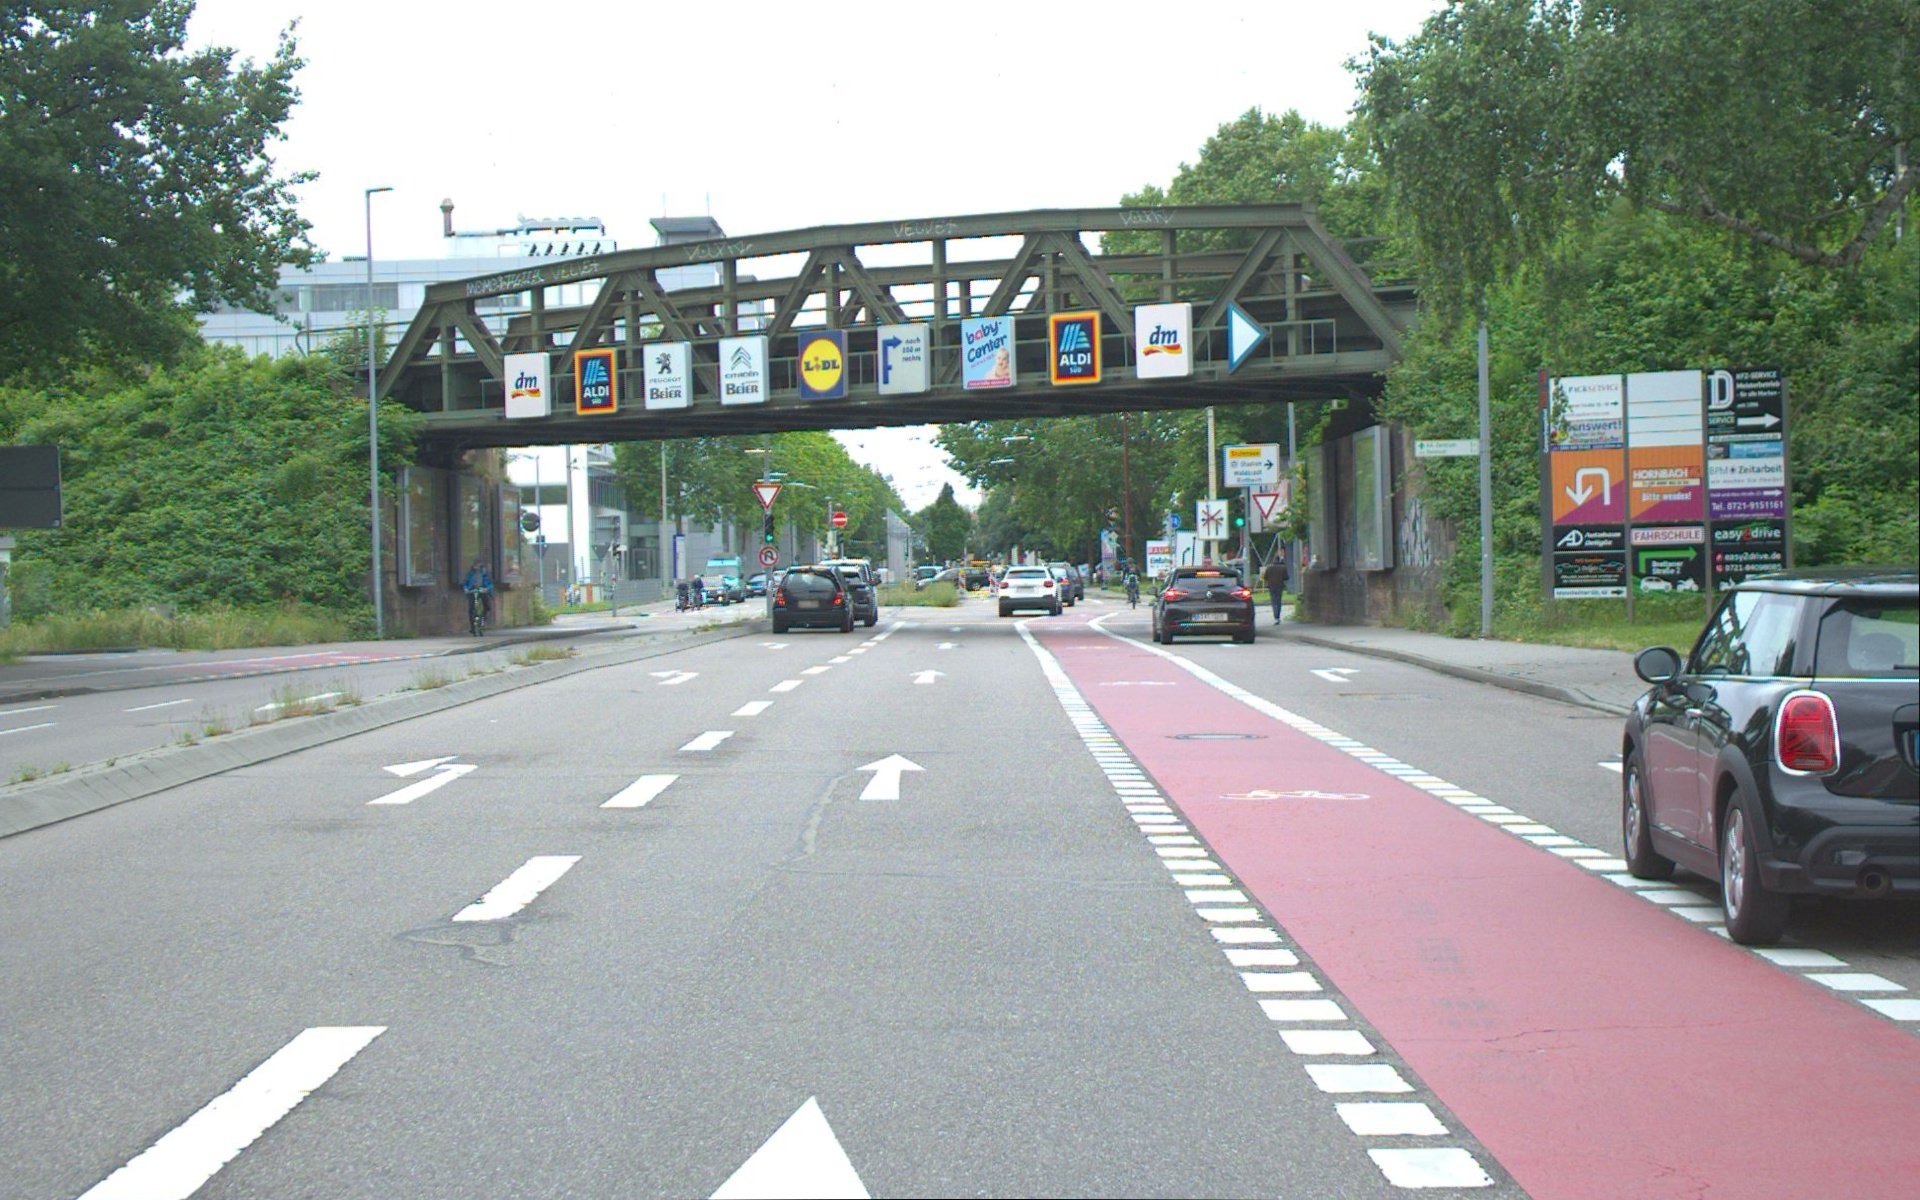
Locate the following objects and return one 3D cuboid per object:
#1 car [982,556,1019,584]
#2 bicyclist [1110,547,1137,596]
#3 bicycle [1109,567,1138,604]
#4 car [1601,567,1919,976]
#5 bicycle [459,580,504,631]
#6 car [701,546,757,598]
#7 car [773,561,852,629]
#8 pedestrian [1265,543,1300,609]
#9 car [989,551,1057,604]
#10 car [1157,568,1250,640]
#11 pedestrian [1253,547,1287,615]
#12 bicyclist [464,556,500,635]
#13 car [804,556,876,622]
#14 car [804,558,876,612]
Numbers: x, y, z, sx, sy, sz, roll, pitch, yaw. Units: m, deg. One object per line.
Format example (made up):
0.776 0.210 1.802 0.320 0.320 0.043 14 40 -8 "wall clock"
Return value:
2.211 -1.647 188.706 1.795 1.508 3.706 0 1 -3 "car"
5.502 -0.960 115.924 0.816 1.624 1.235 -2 0 0 "bicyclist"
5.519 -0.490 115.932 0.816 1.208 2.683 -2 0 0 "bicycle"
3.702 0.591 14.047 1.679 1.426 3.773 0 1 4 "car"
-11.450 0.132 82.320 0.713 1.183 2.370 0 0 0 "bicycle"
-12.828 -1.563 191.523 2.328 2.816 5.948 -2 0 3 "car"
-3.423 -0.138 79.270 1.768 1.522 3.670 0 1 -3 "car"
8.698 -0.640 92.690 0.872 1.753 0.787 -1 0 7 "pedestrian"
1.898 -0.705 105.072 1.823 1.595 3.776 0 1 -3 "car"
4.475 0.057 63.435 1.647 1.276 3.419 0 1 3 "car"
7.499 -0.460 83.161 0.742 1.634 0.778 -1 0 7 "pedestrian"
-11.446 -0.101 82.309 0.702 1.868 1.020 0 0 0 "bicyclist"
-3.090 -0.309 88.201 1.772 1.647 3.670 0 1 -3 "car"
-3.518 -0.456 99.926 1.961 1.522 5.011 0 1 -3 "car"
